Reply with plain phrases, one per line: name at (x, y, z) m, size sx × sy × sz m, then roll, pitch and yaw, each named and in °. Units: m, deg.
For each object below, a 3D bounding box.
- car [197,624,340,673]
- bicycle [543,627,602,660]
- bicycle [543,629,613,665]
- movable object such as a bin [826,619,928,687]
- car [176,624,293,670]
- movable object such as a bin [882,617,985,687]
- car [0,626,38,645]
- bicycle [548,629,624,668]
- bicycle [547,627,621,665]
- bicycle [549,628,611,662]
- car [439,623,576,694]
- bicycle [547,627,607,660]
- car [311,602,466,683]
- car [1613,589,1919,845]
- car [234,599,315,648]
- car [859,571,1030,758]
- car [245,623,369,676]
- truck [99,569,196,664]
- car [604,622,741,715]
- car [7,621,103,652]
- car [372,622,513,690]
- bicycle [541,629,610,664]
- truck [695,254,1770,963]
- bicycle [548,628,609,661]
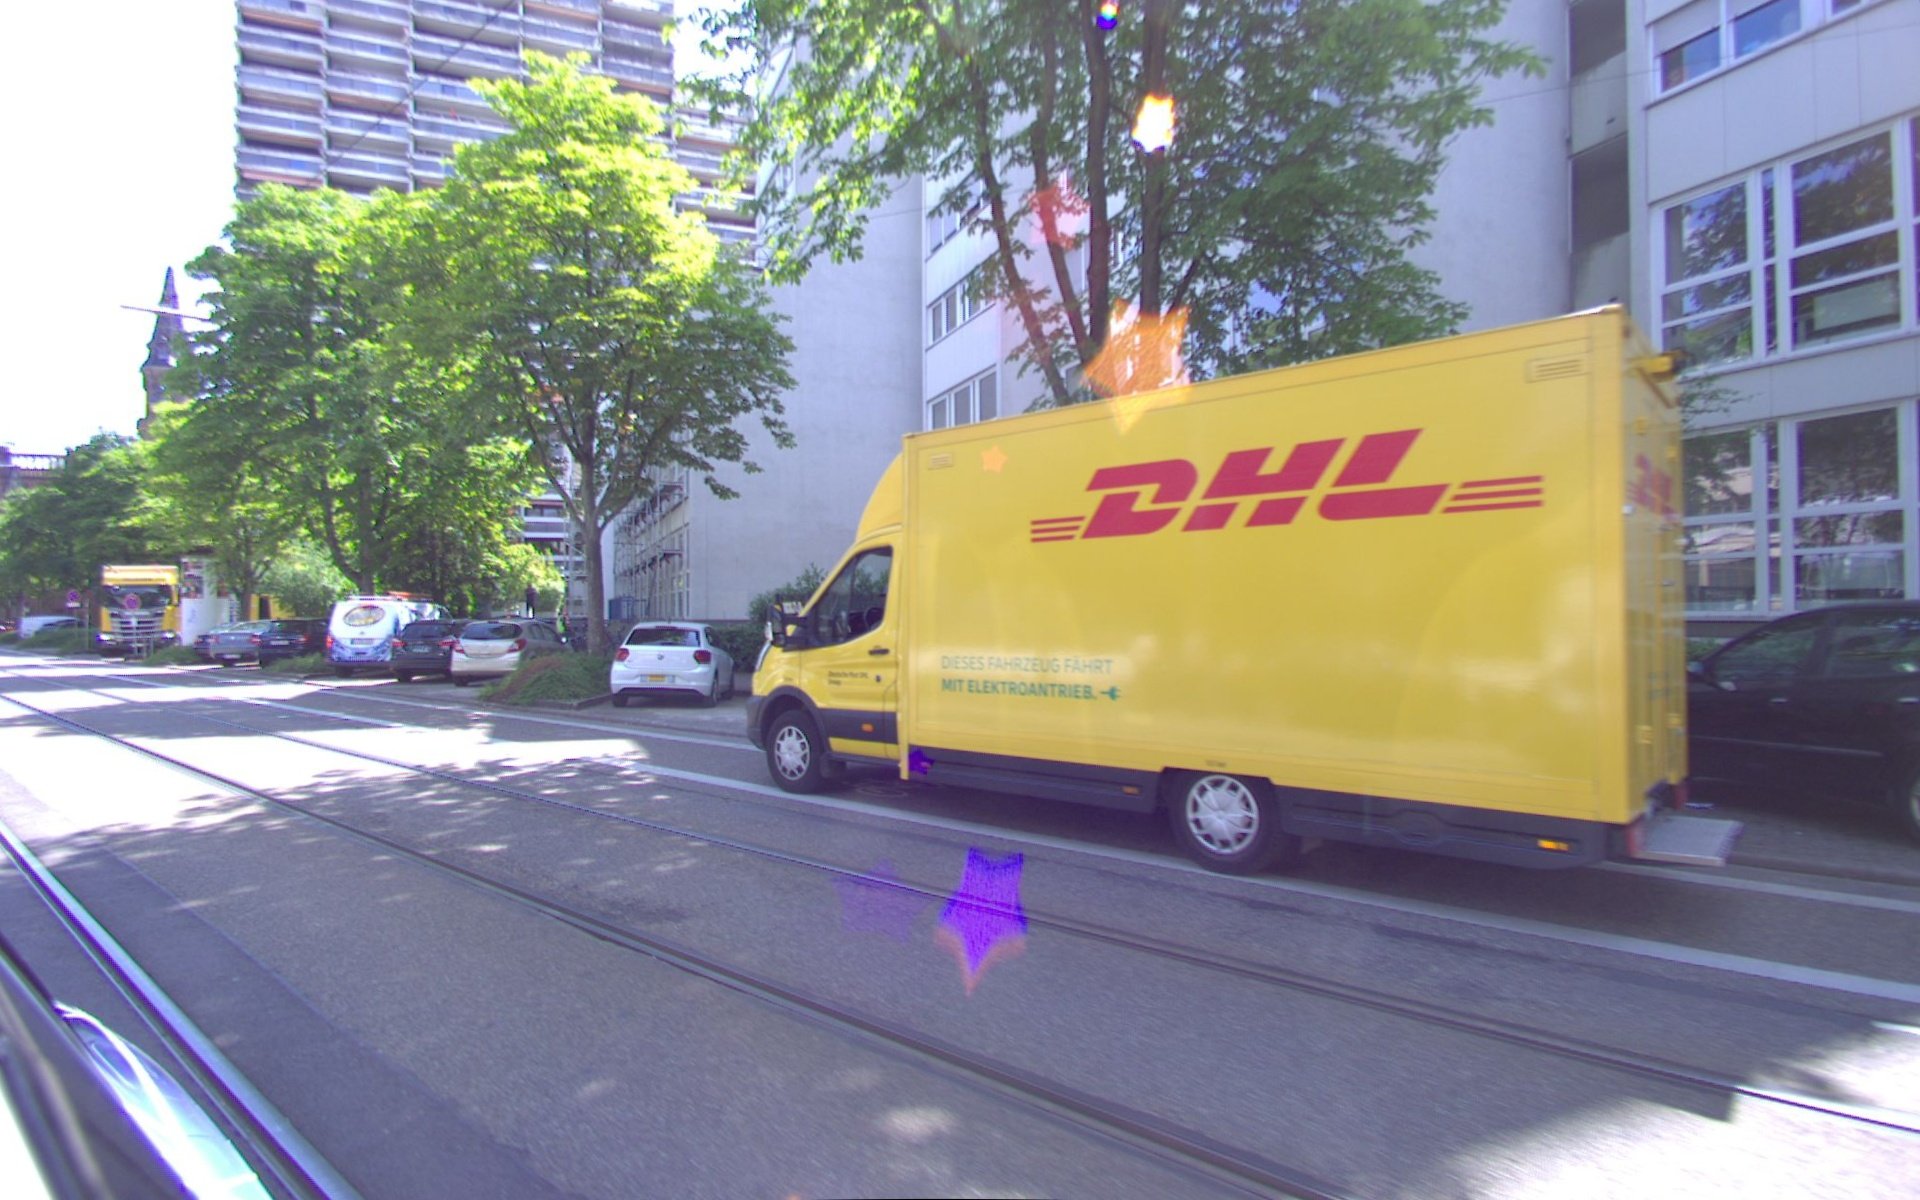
car at (-22.640, 1.576, 33.334) m, size 1.848 × 1.518 × 4.203 m, roll 0°, pitch -2°, yaw -1°
bicycle at (-14.253, 1.596, 37.249) m, size 1.983 × 1.083 × 0.559 m, roll -2°, pitch 0°, yaw -24°
bicycle at (-12.687, 1.544, 33.612) m, size 2.099 × 1.083 × 0.559 m, roll -2°, pitch 0°, yaw -24°
movable object such as a bin at (-1.839, 1.147, 22.497) m, size 1.489 × 1.420 × 1.744 m, roll -2°, pitch -2°, yaw 40°
car at (-25.266, 1.619, 35.409) m, size 1.735 × 1.518 × 3.714 m, roll 0°, pitch -2°, yaw -7°
movable object such as a bin at (-0.553, 1.089, 21.631) m, size 1.423 × 1.420 × 1.744 m, roll -2°, pitch -2°, yaw 40°
car at (-83.414, 3.145, 87.883) m, size 1.981 × 1.578 × 4.762 m, roll -1°, pitch -1°, yaw 12°
bicycle at (-11.455, 1.471, 31.015) m, size 2.099 × 1.083 × 0.559 m, roll -2°, pitch 0°, yaw -24°
bicycle at (-11.756, 1.432, 31.643) m, size 2.099 × 1.083 × 0.559 m, roll -2°, pitch 0°, yaw -24°
bicycle at (-13.234, 1.555, 35.259) m, size 1.983 × 1.083 × 0.559 m, roll -2°, pitch 0°, yaw -24°
car at (-10.278, 1.301, 23.273) m, size 1.736 × 1.478 × 3.713 m, roll 1°, pitch -2°, yaw -5°
bicycle at (-13.791, 1.563, 36.444) m, size 1.983 × 1.083 × 0.559 m, roll -2°, pitch 0°, yaw -24°
car at (-15.069, 1.121, 27.037) m, size 1.892 × 1.949 × 4.763 m, roll 1°, pitch -2°, yaw -7°
car at (6.858, 0.767, 7.117) m, size 1.721 × 1.612 × 3.923 m, roll 0°, pitch -2°, yaw -5°
car at (-38.618, 1.253, 57.216) m, size 2.147 × 2.585 × 6.746 m, roll -1°, pitch 0°, yaw -19°
car at (-0.371, 0.769, 13.111) m, size 1.819 × 1.970 × 4.736 m, roll 0°, pitch -2°, yaw -5°
car at (-20.153, 1.516, 31.427) m, size 1.666 × 1.556 × 3.713 m, roll 0°, pitch -2°, yaw -5°
truck at (-36.934, 0.688, 46.325) m, size 2.679 × 3.870 × 10.991 m, roll -2°, pitch 0°, yaw -35°
car at (-5.002, 1.187, 18.111) m, size 1.735 × 1.444 × 4.006 m, roll 2°, pitch -3°, yaw -7°
car at (-59.089, 2.356, 66.211) m, size 1.879 × 1.804 × 4.537 m, roll -2°, pitch 0°, yaw 8°
car at (-12.553, 1.330, 24.805) m, size 1.790 × 1.518 × 3.713 m, roll 1°, pitch -2°, yaw -5°
bicycle at (-13.009, 1.560, 34.255) m, size 2.099 × 1.083 × 0.559 m, roll -2°, pitch 0°, yaw -24°
truck at (1.134, 0.134, 7.457) m, size 7.376 × 2.874 × 2.335 m, roll -2°, pitch -3°, yaw 42°
bicycle at (-13.495, 1.560, 35.824) m, size 1.983 × 1.083 × 0.559 m, roll -2°, pitch 0°, yaw -24°
